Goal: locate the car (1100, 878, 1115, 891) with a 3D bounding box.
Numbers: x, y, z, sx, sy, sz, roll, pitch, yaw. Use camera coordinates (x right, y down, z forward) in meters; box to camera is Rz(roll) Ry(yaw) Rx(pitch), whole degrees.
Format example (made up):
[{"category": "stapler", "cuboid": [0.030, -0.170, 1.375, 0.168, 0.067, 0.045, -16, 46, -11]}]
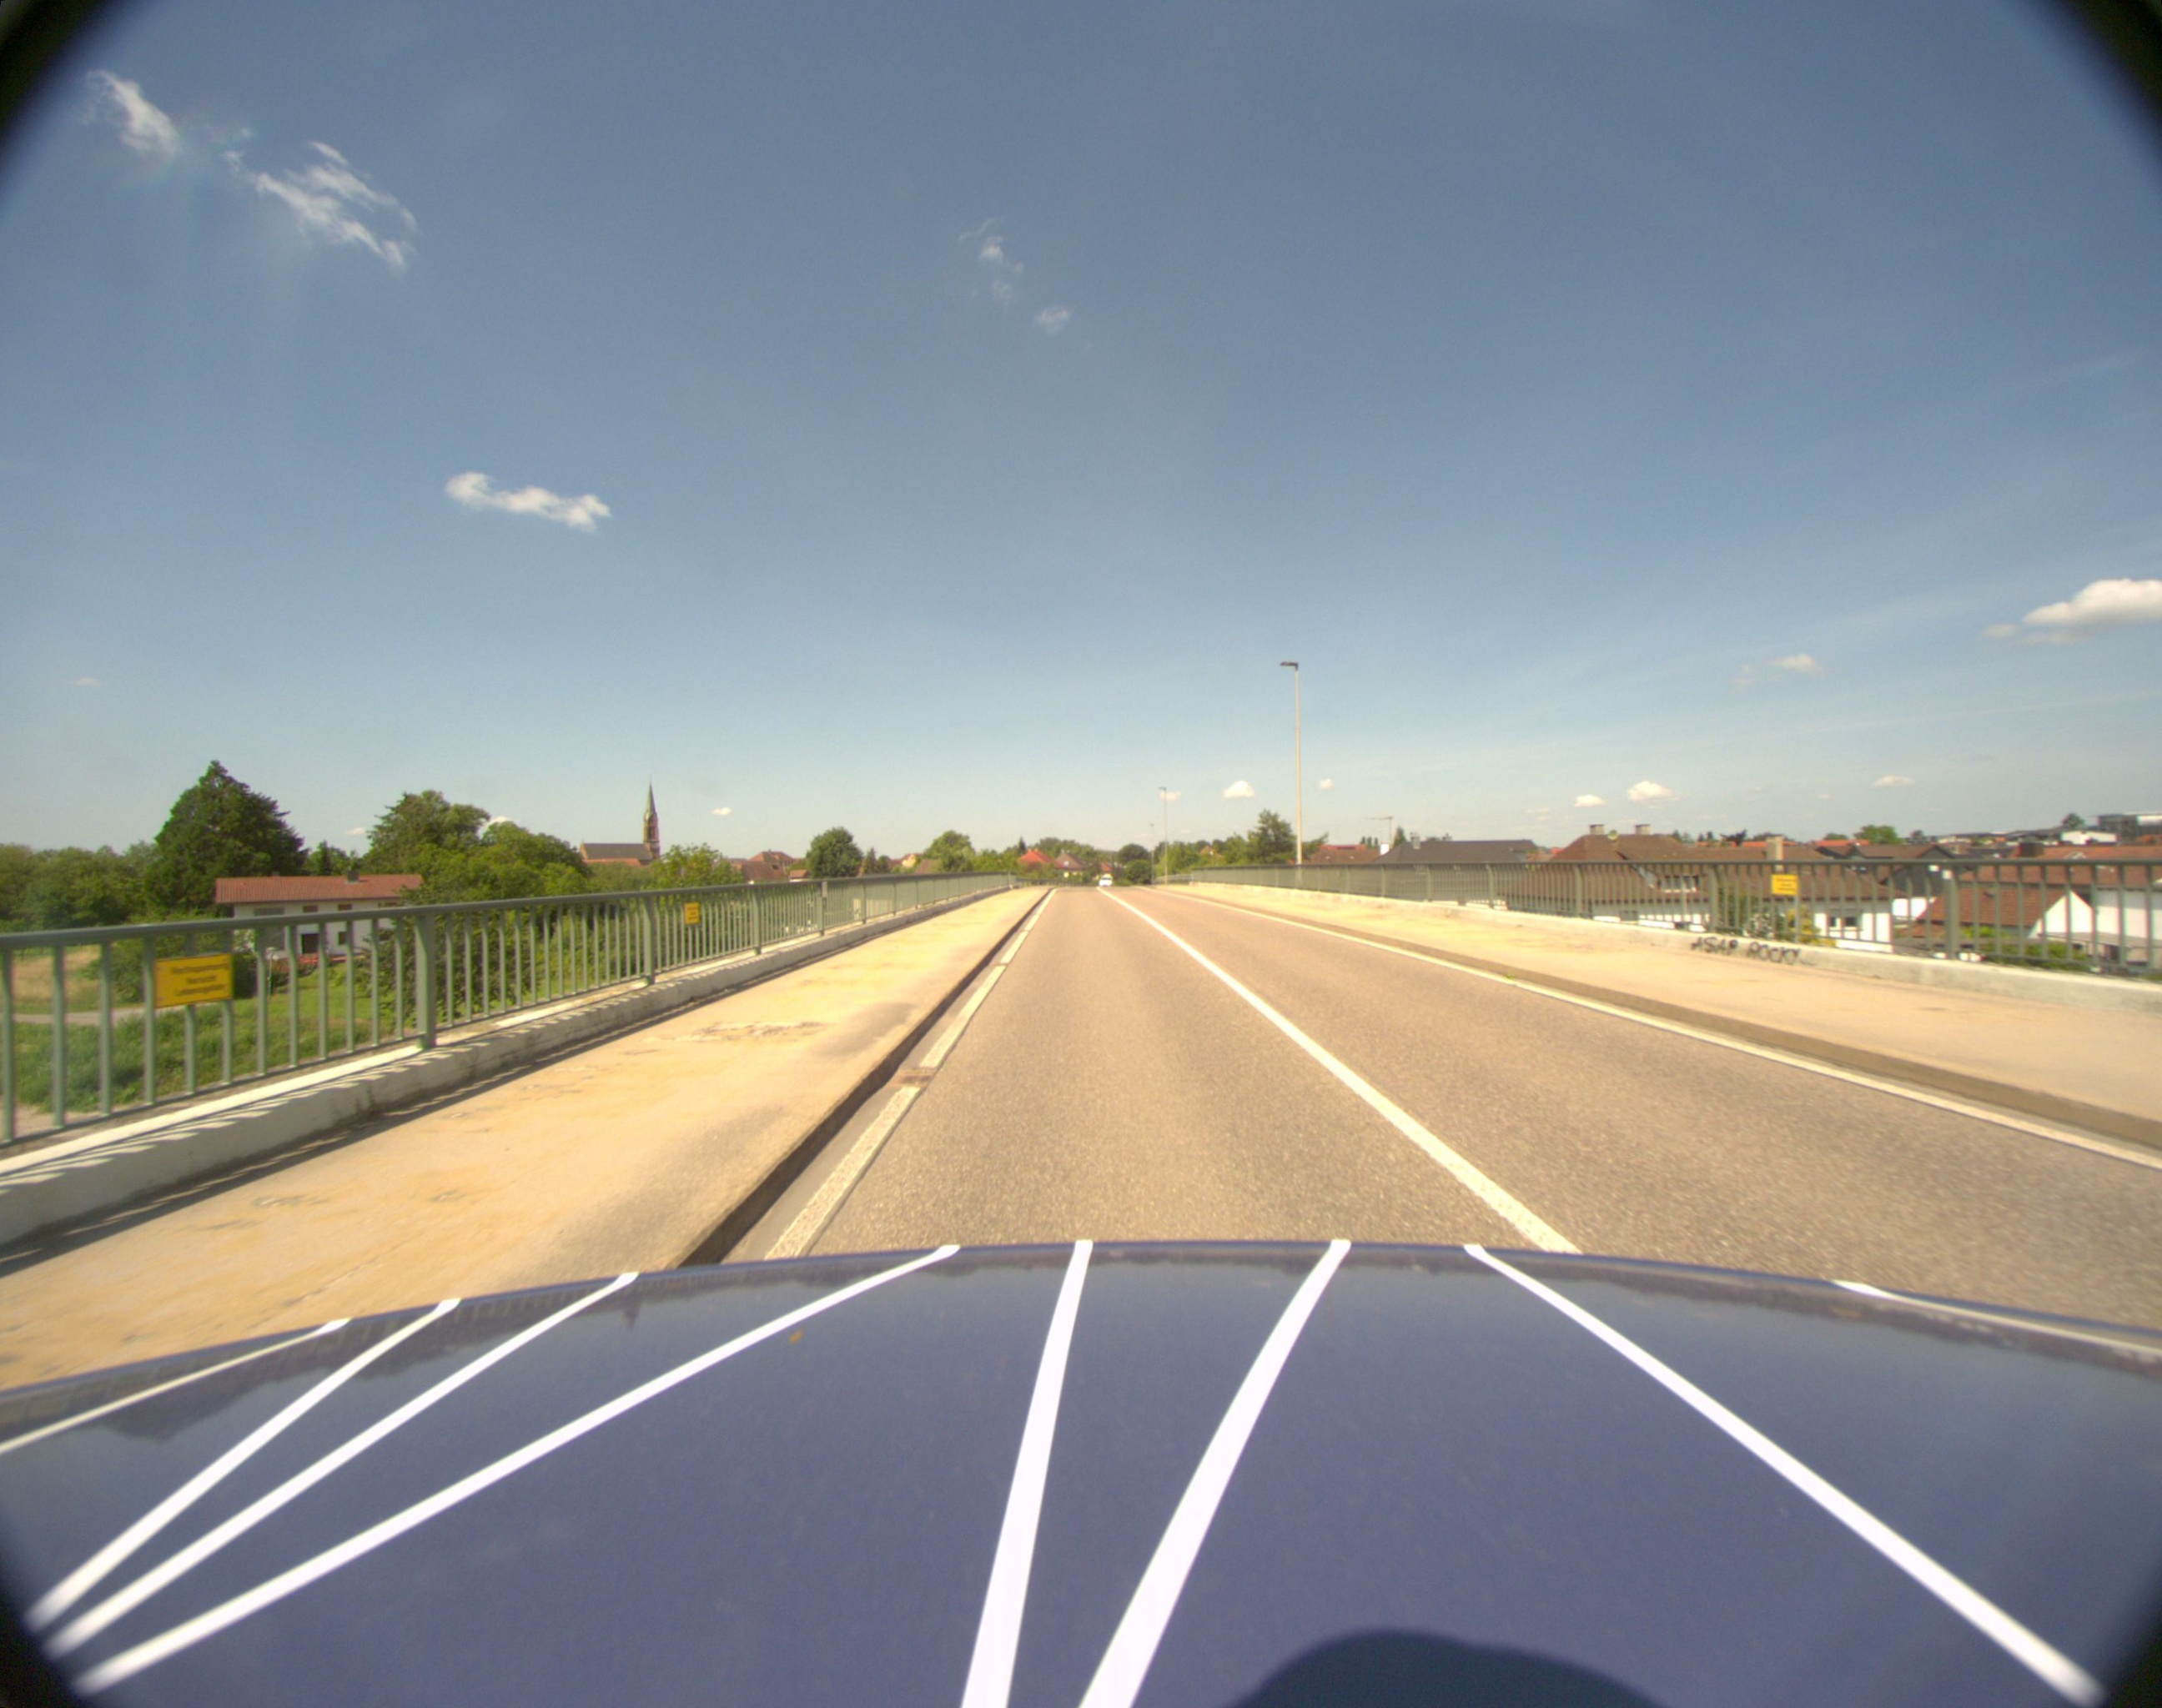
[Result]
[{"category": "car", "cuboid": [3.917, 4.513, 112.588, 2.092, 1.751, 4.282, -2, 1, 2]}]
